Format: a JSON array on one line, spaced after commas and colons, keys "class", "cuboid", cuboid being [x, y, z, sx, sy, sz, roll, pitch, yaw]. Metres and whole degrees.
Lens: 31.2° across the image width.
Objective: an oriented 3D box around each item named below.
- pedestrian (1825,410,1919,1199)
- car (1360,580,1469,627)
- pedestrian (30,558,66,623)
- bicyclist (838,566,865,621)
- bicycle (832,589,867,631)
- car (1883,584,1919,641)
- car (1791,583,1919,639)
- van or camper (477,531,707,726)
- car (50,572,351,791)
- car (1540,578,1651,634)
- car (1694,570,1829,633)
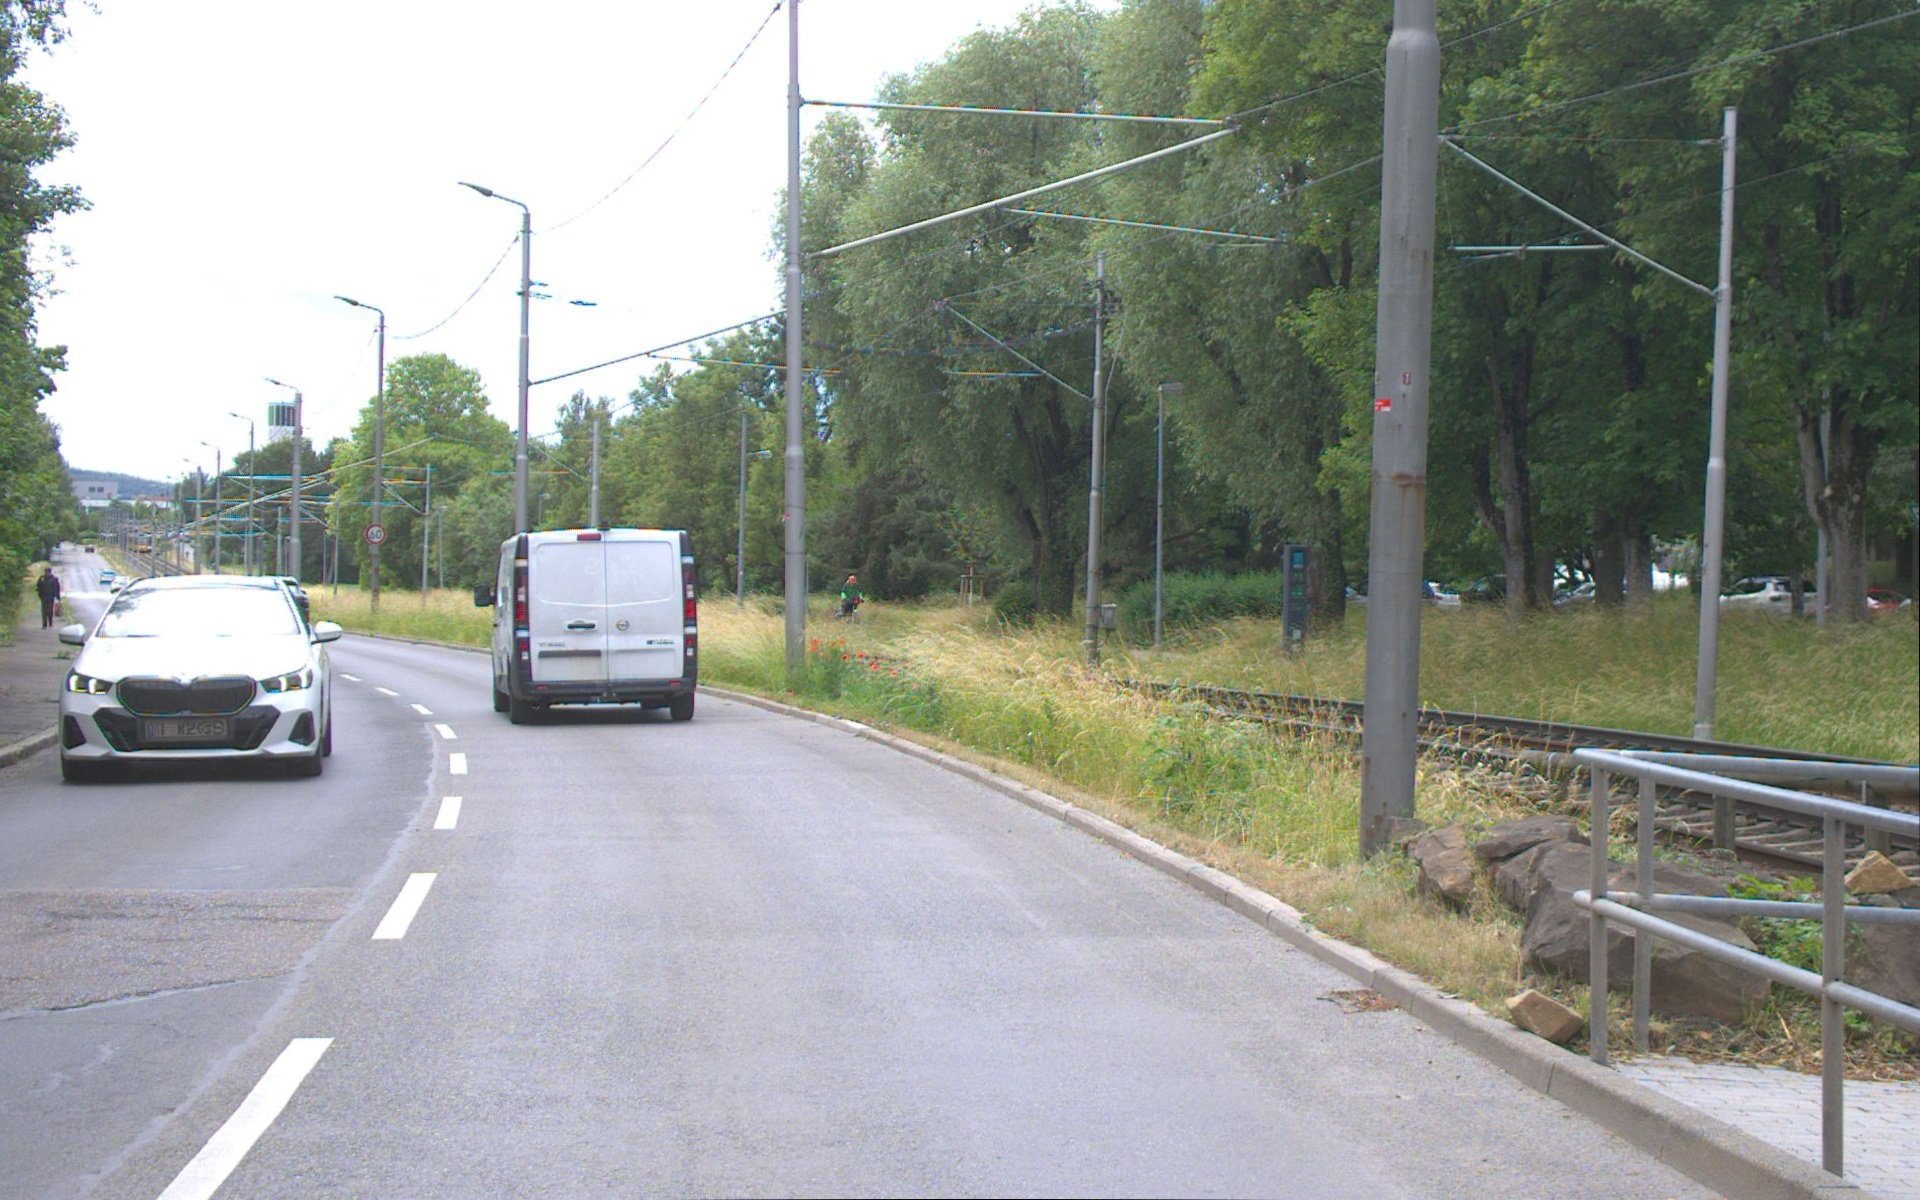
[{"class": "pedestrian", "cuboid": [2.211, 0.548, 6.930, 0.658, 1.834, 0.597, 2, -2, -25]}, {"class": "car", "cuboid": [18.236, 0.117, 138.044, 1.994, 1.806, 3.999, 1, 0, -40]}, {"class": "pedestrian", "cuboid": [-25.313, -0.267, 95.410, 0.867, 1.763, 0.789, -2, 1, -18]}, {"class": "bicyclist", "cuboid": [-3.367, -0.216, 106.975, 0.580, 1.690, 0.936, 1, 0, -18]}, {"class": "bicycle", "cuboid": [-3.446, 0.308, 107.105, 0.580, 1.242, 1.930, 1, 1, -18]}, {"class": "car", "cuboid": [25.345, 0.336, 87.216, 1.993, 1.438, 4.001, 1, 0, -14]}, {"class": "car", "cuboid": [24.145, 0.280, 92.108, 1.993, 1.438, 4.001, 1, 0, -14]}, {"class": "van or camper", "cuboid": [-3.908, 0.273, 35.877, 1.941, 1.890, 4.286, -1, 0, -12]}, {"class": "car", "cuboid": [-5.834, 0.566, 26.893, 1.929, 1.517, 4.660, -1, 1, -8]}, {"class": "car", "cuboid": [19.997, 0.178, 108.280, 1.993, 1.694, 4.001, 2, 0, -12]}, {"class": "car", "cuboid": [22.745, 0.031, 97.724, 1.993, 1.694, 4.230, 2, 0, -14]}]
